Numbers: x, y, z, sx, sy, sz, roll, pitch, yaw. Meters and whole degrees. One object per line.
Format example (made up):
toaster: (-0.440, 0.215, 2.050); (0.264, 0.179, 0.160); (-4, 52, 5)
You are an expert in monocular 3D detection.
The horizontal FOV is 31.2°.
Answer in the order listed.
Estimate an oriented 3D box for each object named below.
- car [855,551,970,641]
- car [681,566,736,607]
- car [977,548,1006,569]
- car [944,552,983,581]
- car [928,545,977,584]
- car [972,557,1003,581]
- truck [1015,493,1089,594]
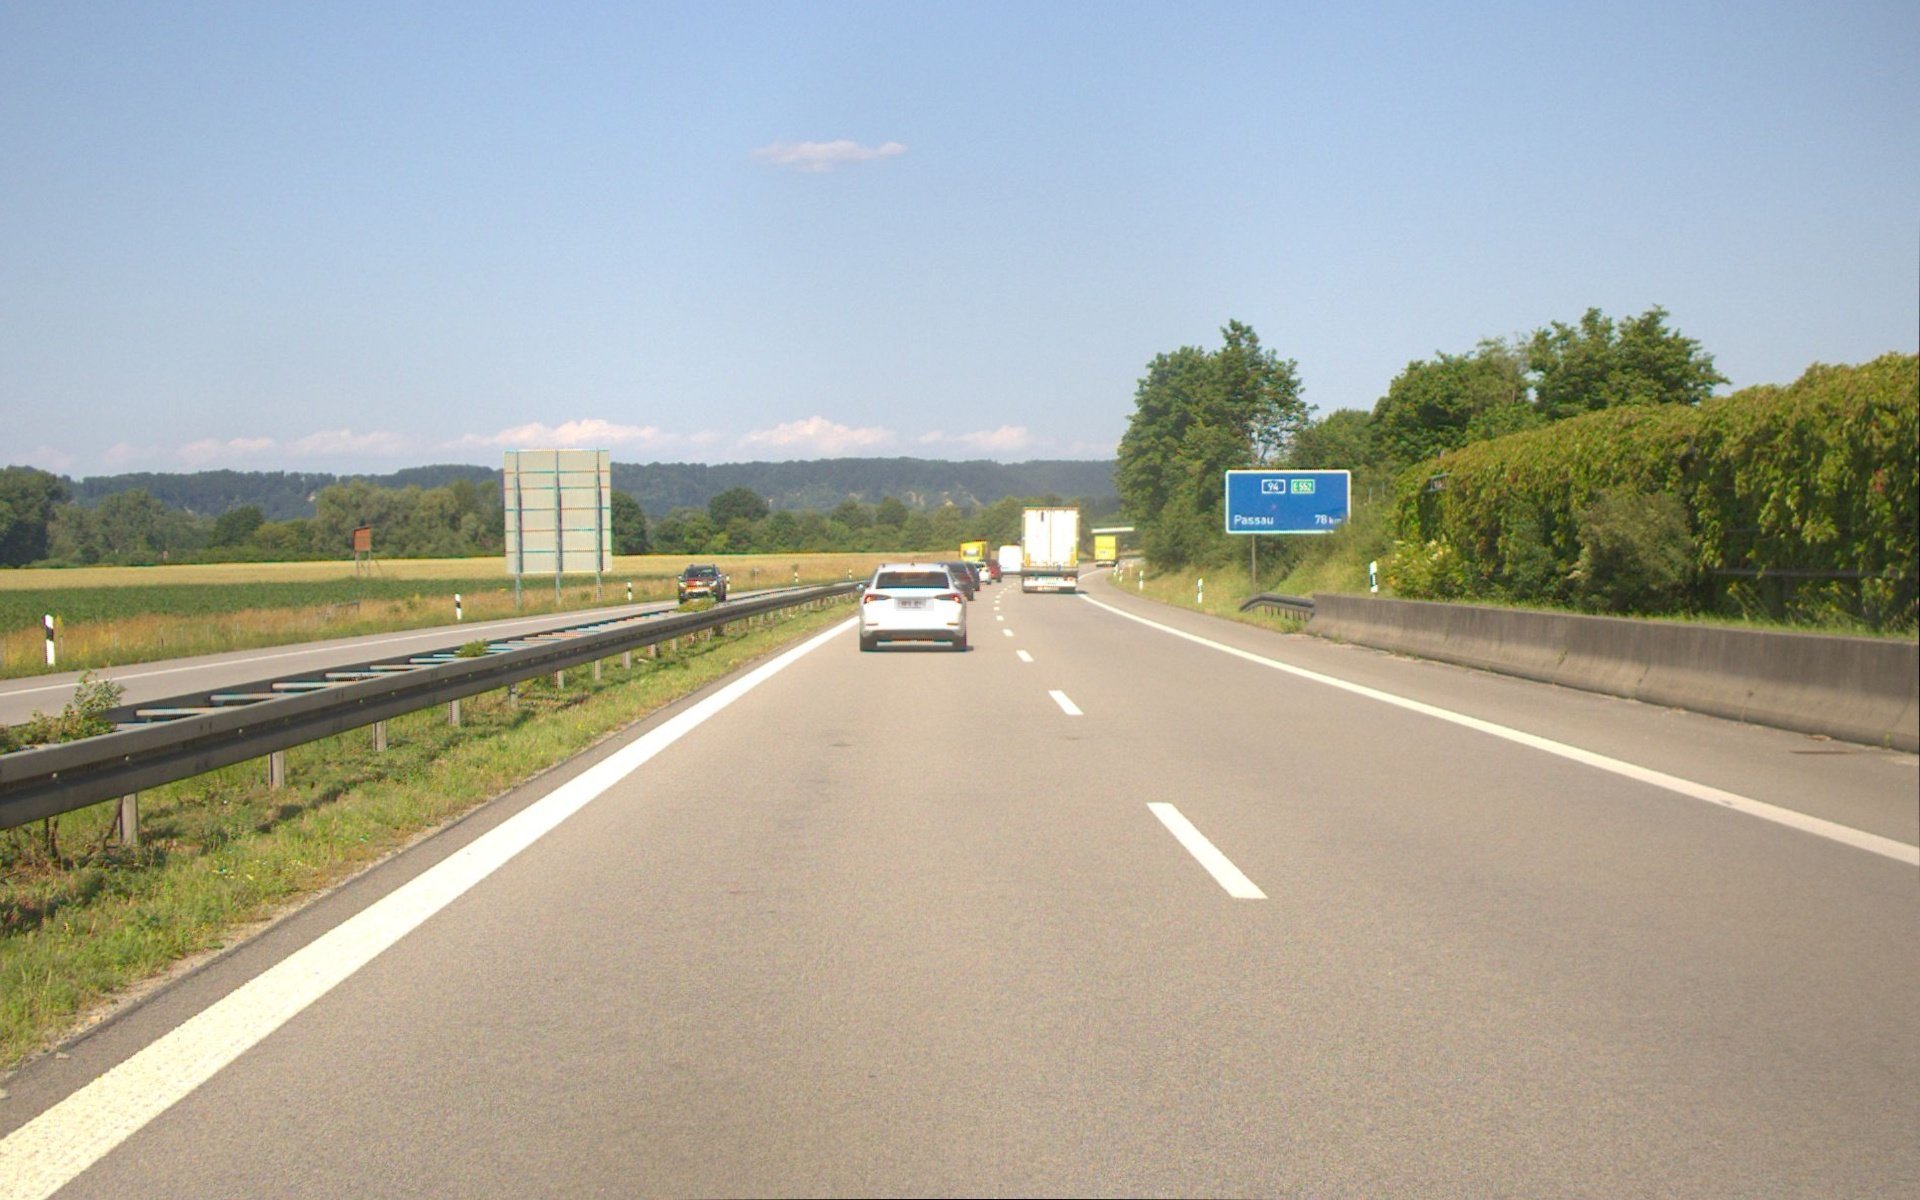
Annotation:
car: (-0.780, -0.101, 58.189); (1.840, 1.416, 5.255); (1, 1, 0)
car: (-10.898, -0.600, 149.163); (1.993, 1.656, 4.775); (-2, 1, 0)
car: (2.105, -2.759, 228.361); (1.771, 1.416, 4.364); (0, 1, 3)
car: (0.192, -1.661, 170.658); (1.771, 1.416, 4.364); (0, 1, 2)
car: (-0.251, -1.348, 129.969); (1.771, 1.416, 4.495); (0, 1, 1)
car: (1.708, -1.888, 209.451); (1.771, 1.416, 4.364); (0, 1, 2)
truck: (4.263, -2.646, 161.510); (3.152, 4.596, 8.906); (-1, 1, 0)
